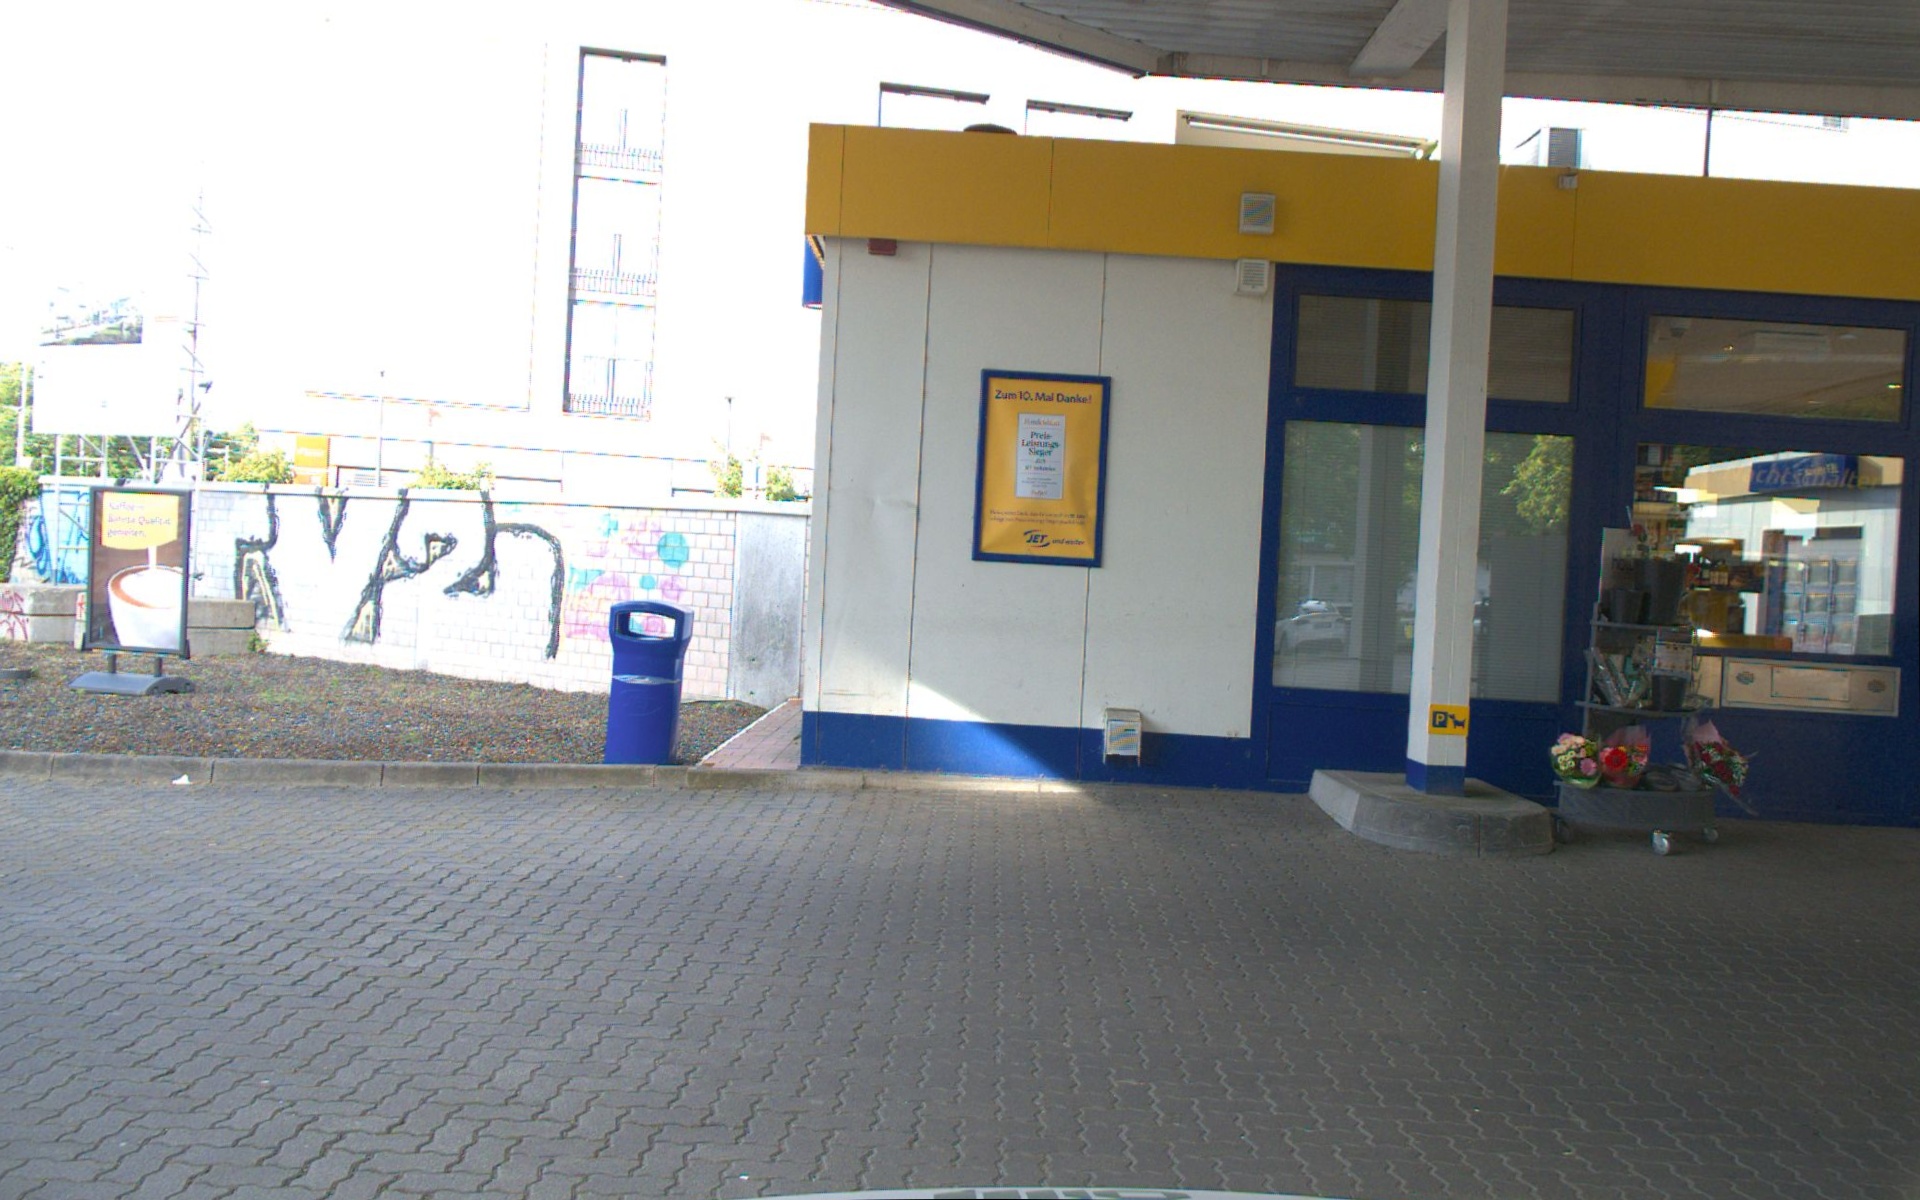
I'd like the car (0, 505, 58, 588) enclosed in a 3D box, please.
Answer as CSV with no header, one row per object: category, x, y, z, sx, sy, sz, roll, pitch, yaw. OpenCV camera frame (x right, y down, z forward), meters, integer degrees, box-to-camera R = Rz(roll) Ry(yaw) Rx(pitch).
car,-23.828,-1.351,40.676,1.931,1.922,4.391,3,1,-17
